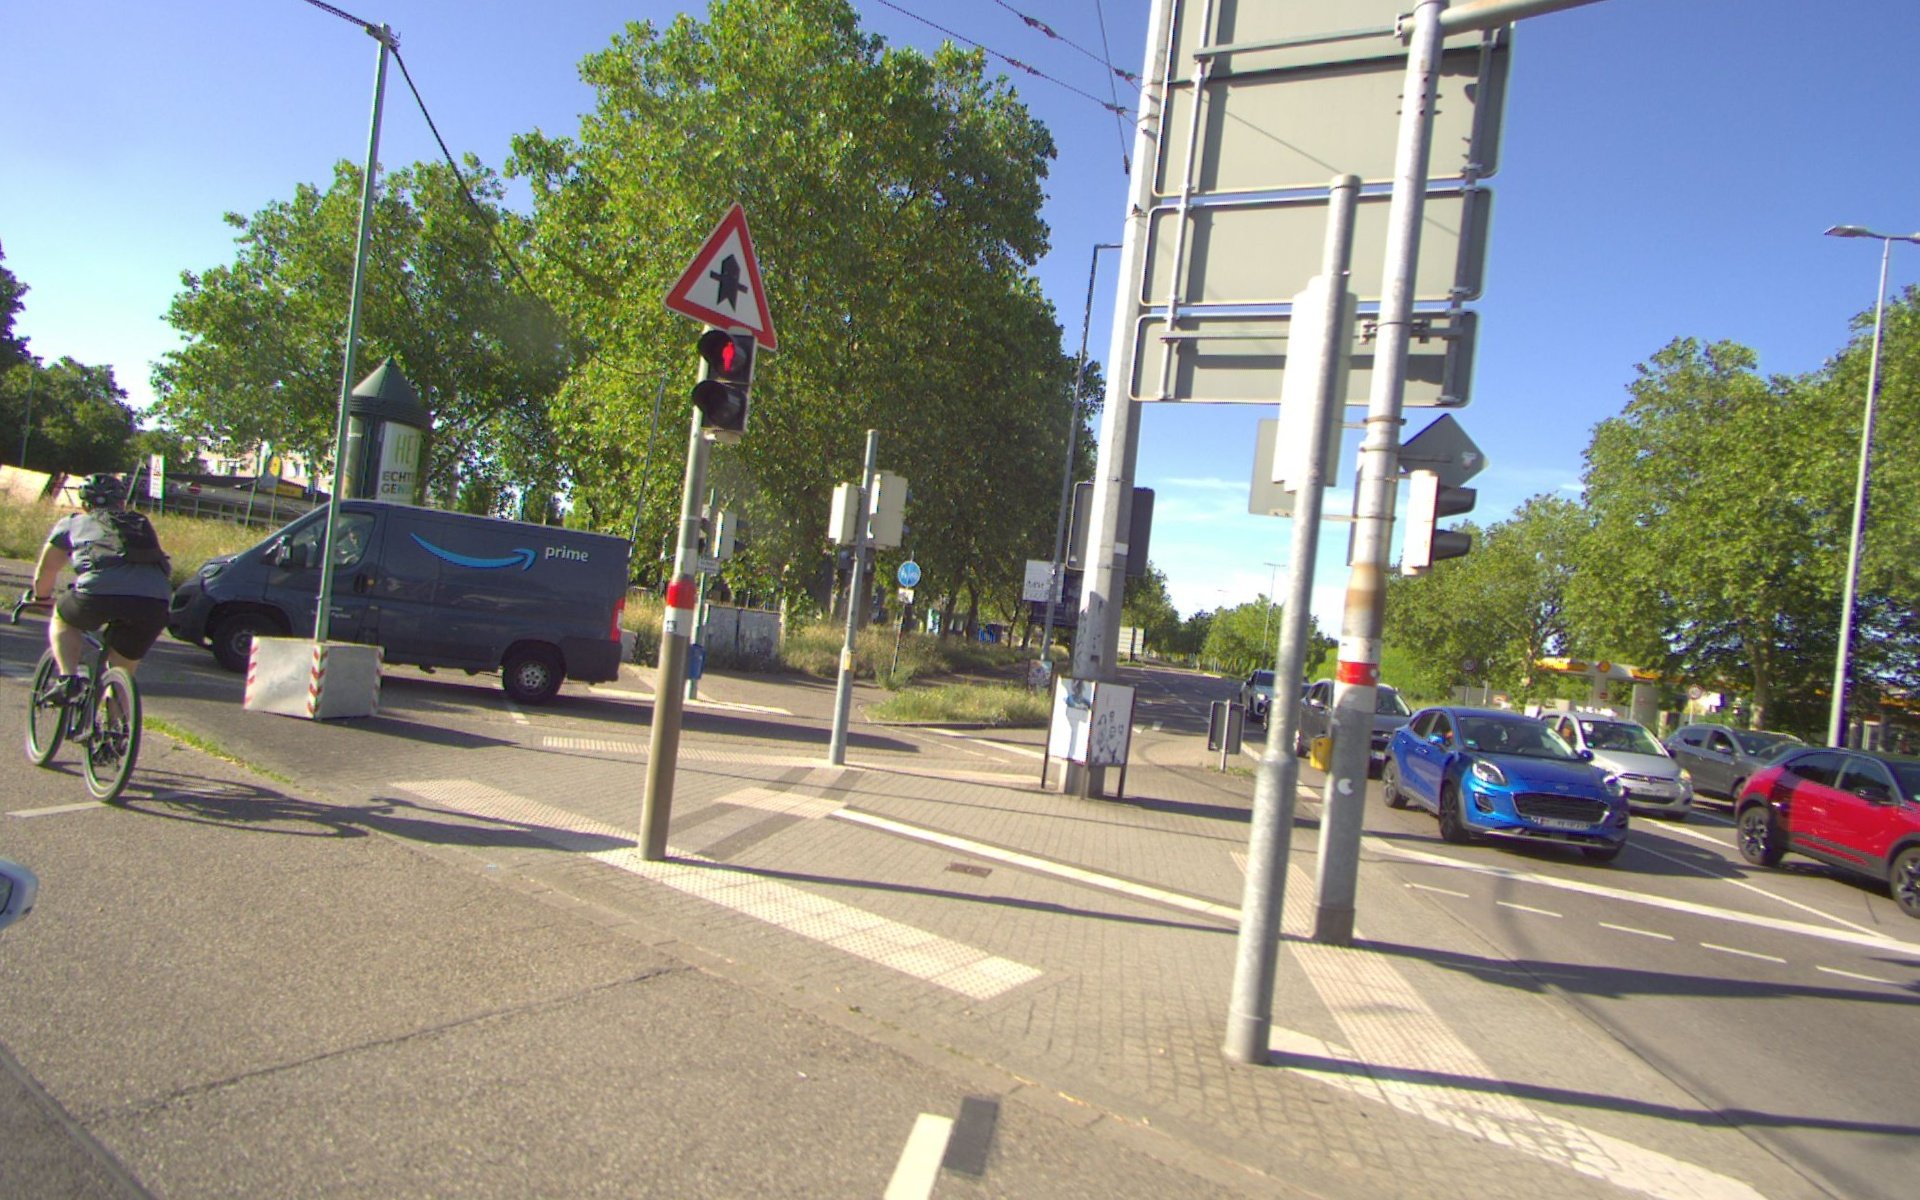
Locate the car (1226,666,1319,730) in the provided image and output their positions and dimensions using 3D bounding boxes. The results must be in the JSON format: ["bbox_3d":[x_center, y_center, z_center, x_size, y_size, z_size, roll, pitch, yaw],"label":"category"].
[{"bbox_3d":[10.112,3.112,32.879,1.872,1.701,4.784,7,-3,7],"label":"car"}]

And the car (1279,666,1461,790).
[{"bbox_3d":[7.554,2.286,19.011,1.898,1.698,4.179,8,-1,6],"label":"car"}]

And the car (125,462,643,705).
[{"bbox_3d":[-6.701,-0.108,12.513,5.045,2.094,2.123,8,-1,-18],"label":"car"}]

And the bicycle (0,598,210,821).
[{"bbox_3d":[-5.048,0.555,5.749,2.056,0.934,0.524,6,-1,35],"label":"bicycle"}]

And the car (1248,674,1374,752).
[{"bbox_3d":[8.898,2.827,25.899,1.898,1.424,4.574,7,-1,6],"label":"car"}]

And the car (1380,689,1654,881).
[{"bbox_3d":[6.616,2.095,12.463,1.680,1.619,3.864,7,-1,11],"label":"car"}]

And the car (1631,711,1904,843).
[{"bbox_3d":[14.595,3.118,18.538,1.962,1.637,4.004,7,-1,7],"label":"car"}]

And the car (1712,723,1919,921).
[{"bbox_3d":[10.238,2.385,10.689,1.782,1.619,4.094,7,-1,10],"label":"car"}]

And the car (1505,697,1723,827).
[{"bbox_3d":[11.325,2.735,17.757,1.680,1.619,3.864,7,-1,10],"label":"car"}]

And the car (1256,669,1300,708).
[{"bbox_3d":[16.153,4.460,51.193,1.346,1.635,3.212,7,-1,6],"label":"car"}]

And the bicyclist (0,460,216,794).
[{"bbox_3d":[-4.813,0.128,5.632,0.918,1.700,0.616,7,0,33],"label":"bicyclist"}]

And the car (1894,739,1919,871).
[{"bbox_3d":[13.688,2.807,11.562,1.884,1.731,4.499,7,-1,6],"label":"car"}]
